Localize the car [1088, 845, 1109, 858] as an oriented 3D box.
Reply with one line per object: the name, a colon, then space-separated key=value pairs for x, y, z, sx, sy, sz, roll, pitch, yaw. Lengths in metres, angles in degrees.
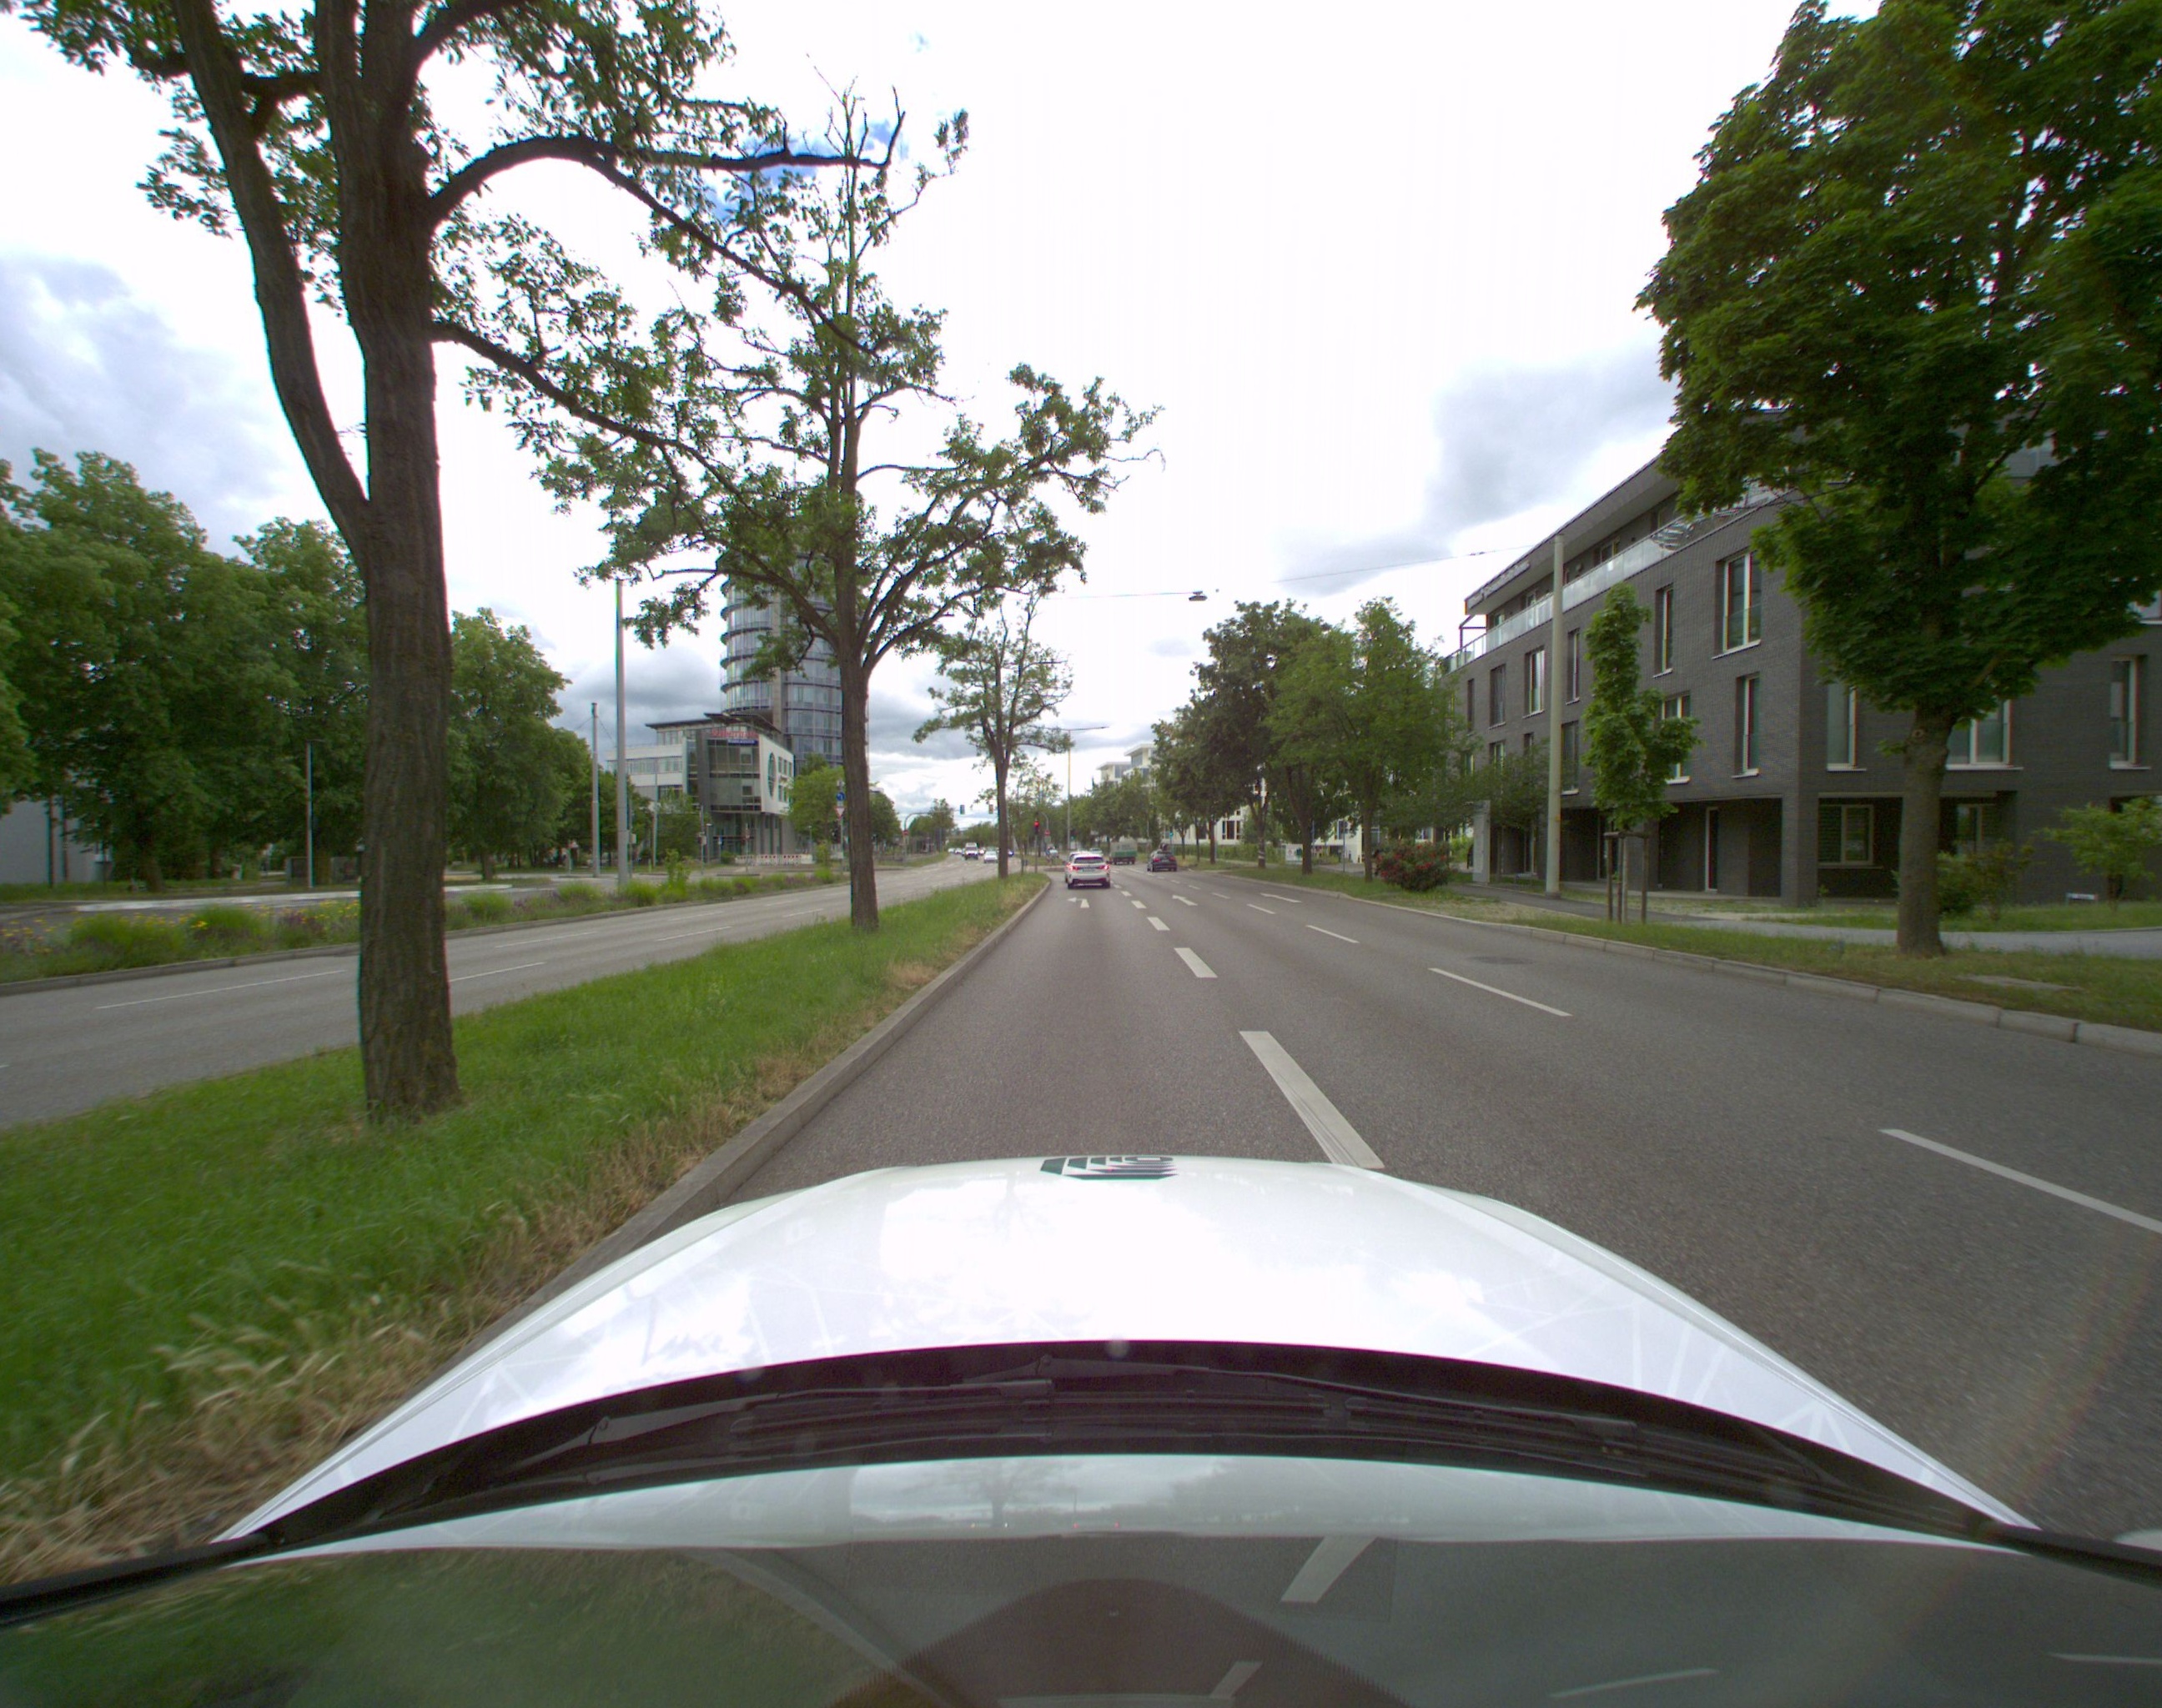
car: x=2.180 y=-0.339 z=100.873 sx=1.992 sy=1.508 sz=3.990 roll=-1 pitch=0 yaw=-7

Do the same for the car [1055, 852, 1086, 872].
car: x=-0.779 y=0.593 z=64.003 sx=1.984 sy=1.508 sz=4.006 roll=-1 pitch=0 yaw=5

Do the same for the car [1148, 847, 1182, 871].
car: x=5.818 y=0.353 z=56.673 sx=1.987 sy=1.596 sz=4.001 roll=-1 pitch=0 yaw=1

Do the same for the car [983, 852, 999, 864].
car: x=-11.430 y=0.514 z=103.297 sx=1.749 sy=1.444 sz=4.130 roll=1 pitch=0 yaw=-3

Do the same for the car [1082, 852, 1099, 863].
car: x=1.345 y=0.462 z=113.588 sx=1.991 sy=1.508 sz=3.992 roll=-1 pitch=0 yaw=-6

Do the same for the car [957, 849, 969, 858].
car: x=-24.446 y=-0.138 z=168.263 sx=1.989 sy=1.852 sz=4.320 roll=1 pitch=0 yaw=-3

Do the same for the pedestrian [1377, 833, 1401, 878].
pedestrian: x=12.442 y=0.032 z=32.902 sx=0.606 sy=1.775 sz=0.954 roll=-1 pitch=2 yaw=0

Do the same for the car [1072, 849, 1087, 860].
car: x=-0.172 y=0.080 z=116.647 sx=1.989 sy=1.490 sz=3.996 roll=0 pitch=0 yaw=-3

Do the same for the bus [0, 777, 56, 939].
bus: x=-24.833 y=0.070 z=13.336 sx=3.017 sy=3.455 sz=9.923 roll=1 pitch=0 yaw=5

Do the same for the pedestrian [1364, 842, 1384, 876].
pedestrian: x=13.330 y=0.237 z=37.066 sx=0.722 sy=1.552 sz=0.588 roll=-1 pitch=0 yaw=5

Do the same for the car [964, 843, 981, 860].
car: x=-16.992 y=-0.435 z=127.789 sx=1.989 sy=2.634 sz=5.869 roll=1 pitch=0 yaw=-3

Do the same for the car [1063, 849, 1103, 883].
car: x=0.119 y=0.602 z=42.750 sx=1.987 sy=1.672 sz=4.000 roll=-1 pitch=0 yaw=1

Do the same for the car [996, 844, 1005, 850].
car: x=-21.625 y=-1.881 z=218.570 sx=1.987 sy=1.618 sz=3.999 roll=1 pitch=0 yaw=0

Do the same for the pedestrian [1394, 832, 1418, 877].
pedestrian: x=13.139 y=0.017 z=32.917 sx=0.606 sy=1.775 sz=0.954 roll=-1 pitch=2 yaw=0

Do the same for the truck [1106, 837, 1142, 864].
truck: x=4.149 y=-0.341 z=79.831 sx=2.853 sy=2.519 sz=6.278 roll=-1 pitch=0 yaw=-4

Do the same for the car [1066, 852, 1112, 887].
car: x=0.393 y=0.642 z=35.458 sx=1.856 sy=1.449 sz=4.002 roll=-1 pitch=0 yaw=2

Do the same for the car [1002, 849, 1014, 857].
car: x=-12.735 y=-0.225 z=142.110 sx=1.748 sy=1.371 sz=3.779 roll=-2 pitch=0 yaw=0

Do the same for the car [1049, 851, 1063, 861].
car: x=-3.771 y=0.286 z=123.362 sx=1.989 sy=1.490 sz=3.996 roll=0 pitch=0 yaw=-3

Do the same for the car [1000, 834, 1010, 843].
car: x=-18.680 y=-3.850 z=200.339 sx=1.989 sy=2.011 sz=4.320 roll=1 pitch=0 yaw=-3
